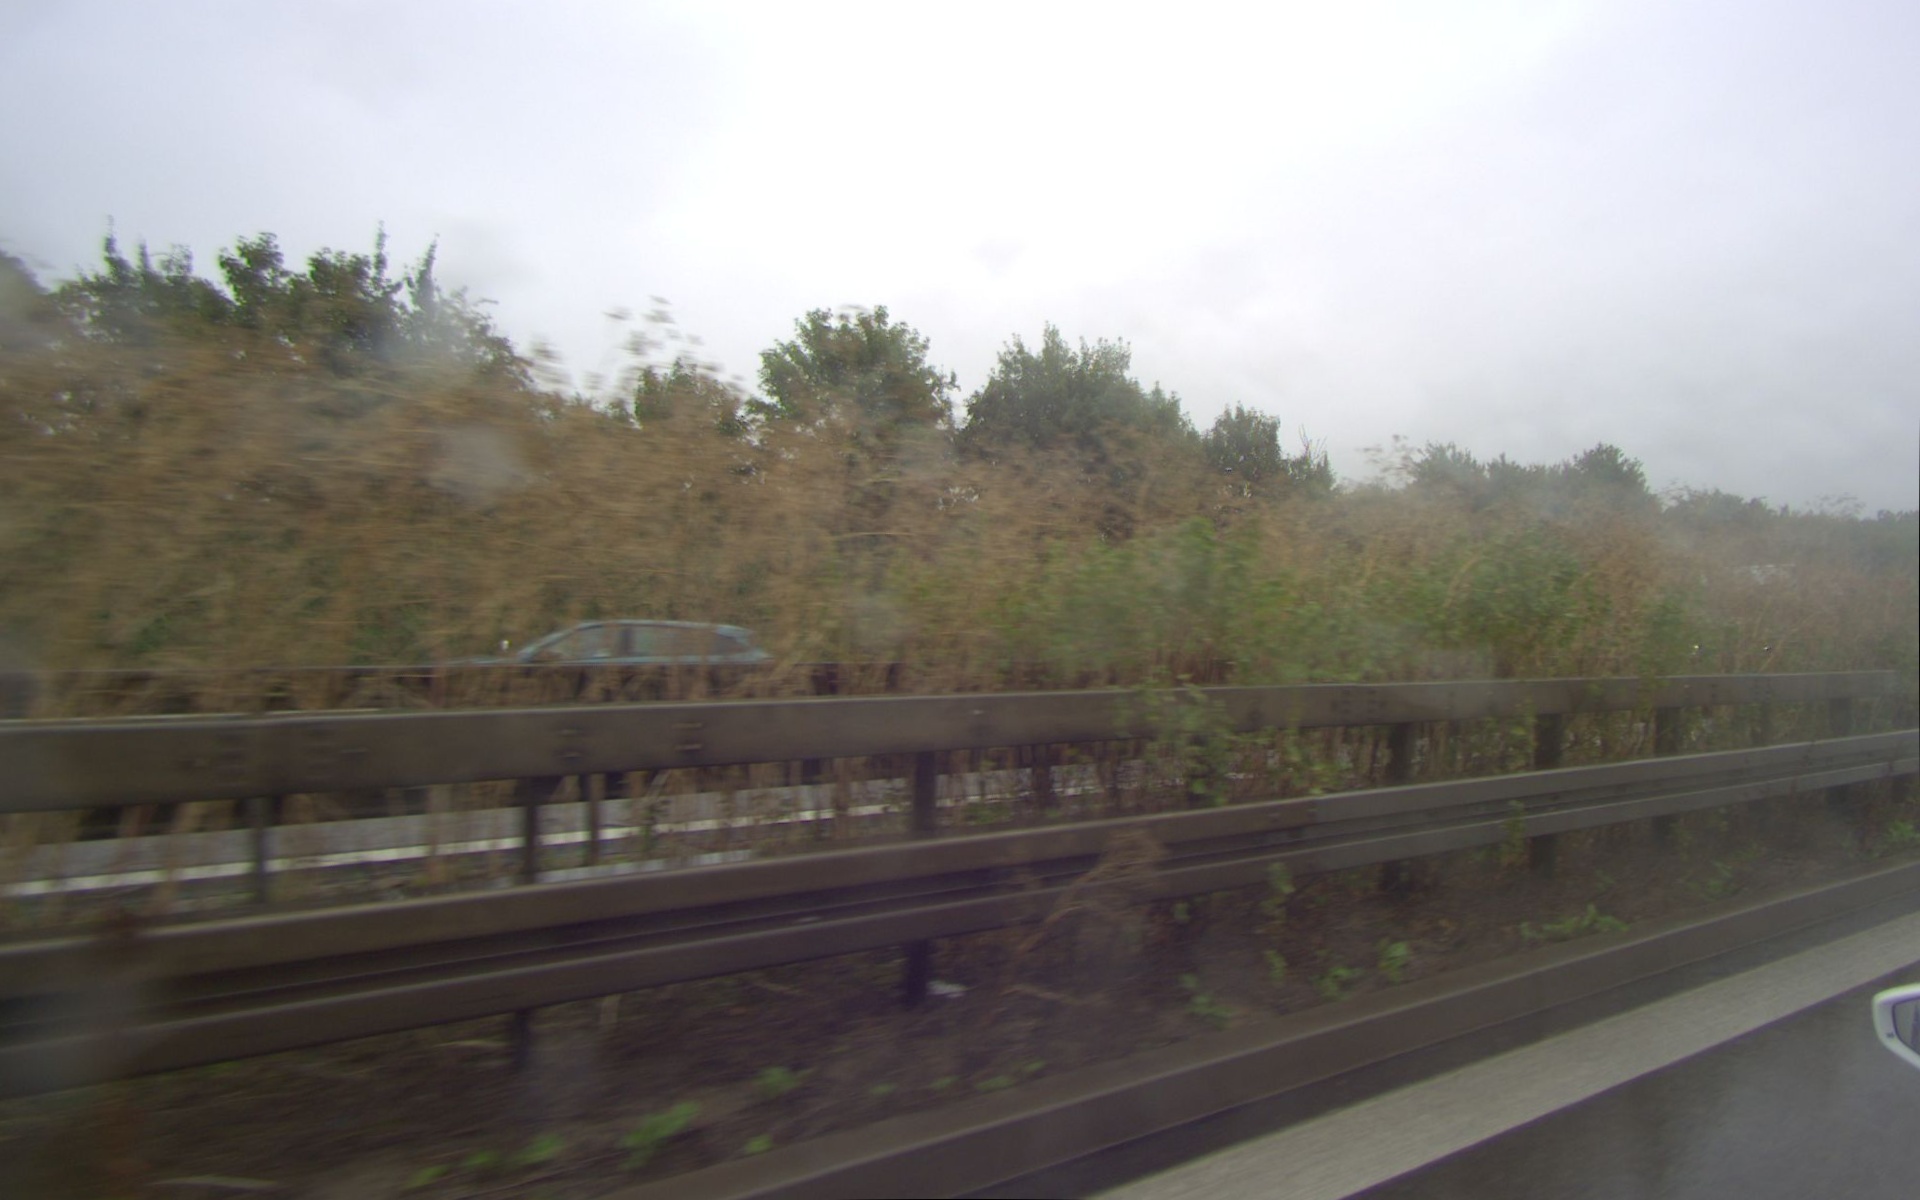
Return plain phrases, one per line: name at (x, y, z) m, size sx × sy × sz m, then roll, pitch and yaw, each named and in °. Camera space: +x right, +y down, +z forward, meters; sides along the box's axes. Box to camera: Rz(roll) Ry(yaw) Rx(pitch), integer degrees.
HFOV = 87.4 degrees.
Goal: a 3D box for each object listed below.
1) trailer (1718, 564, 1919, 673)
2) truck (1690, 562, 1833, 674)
trailer at (34.573, 0.800, 40.092) m, size 12.072 × 3.882 × 2.586 m, roll 1°, pitch -1°, yaw -31°
truck at (29.594, 0.688, 37.064) m, size 4.918 × 3.882 × 2.572 m, roll 1°, pitch -1°, yaw -31°
